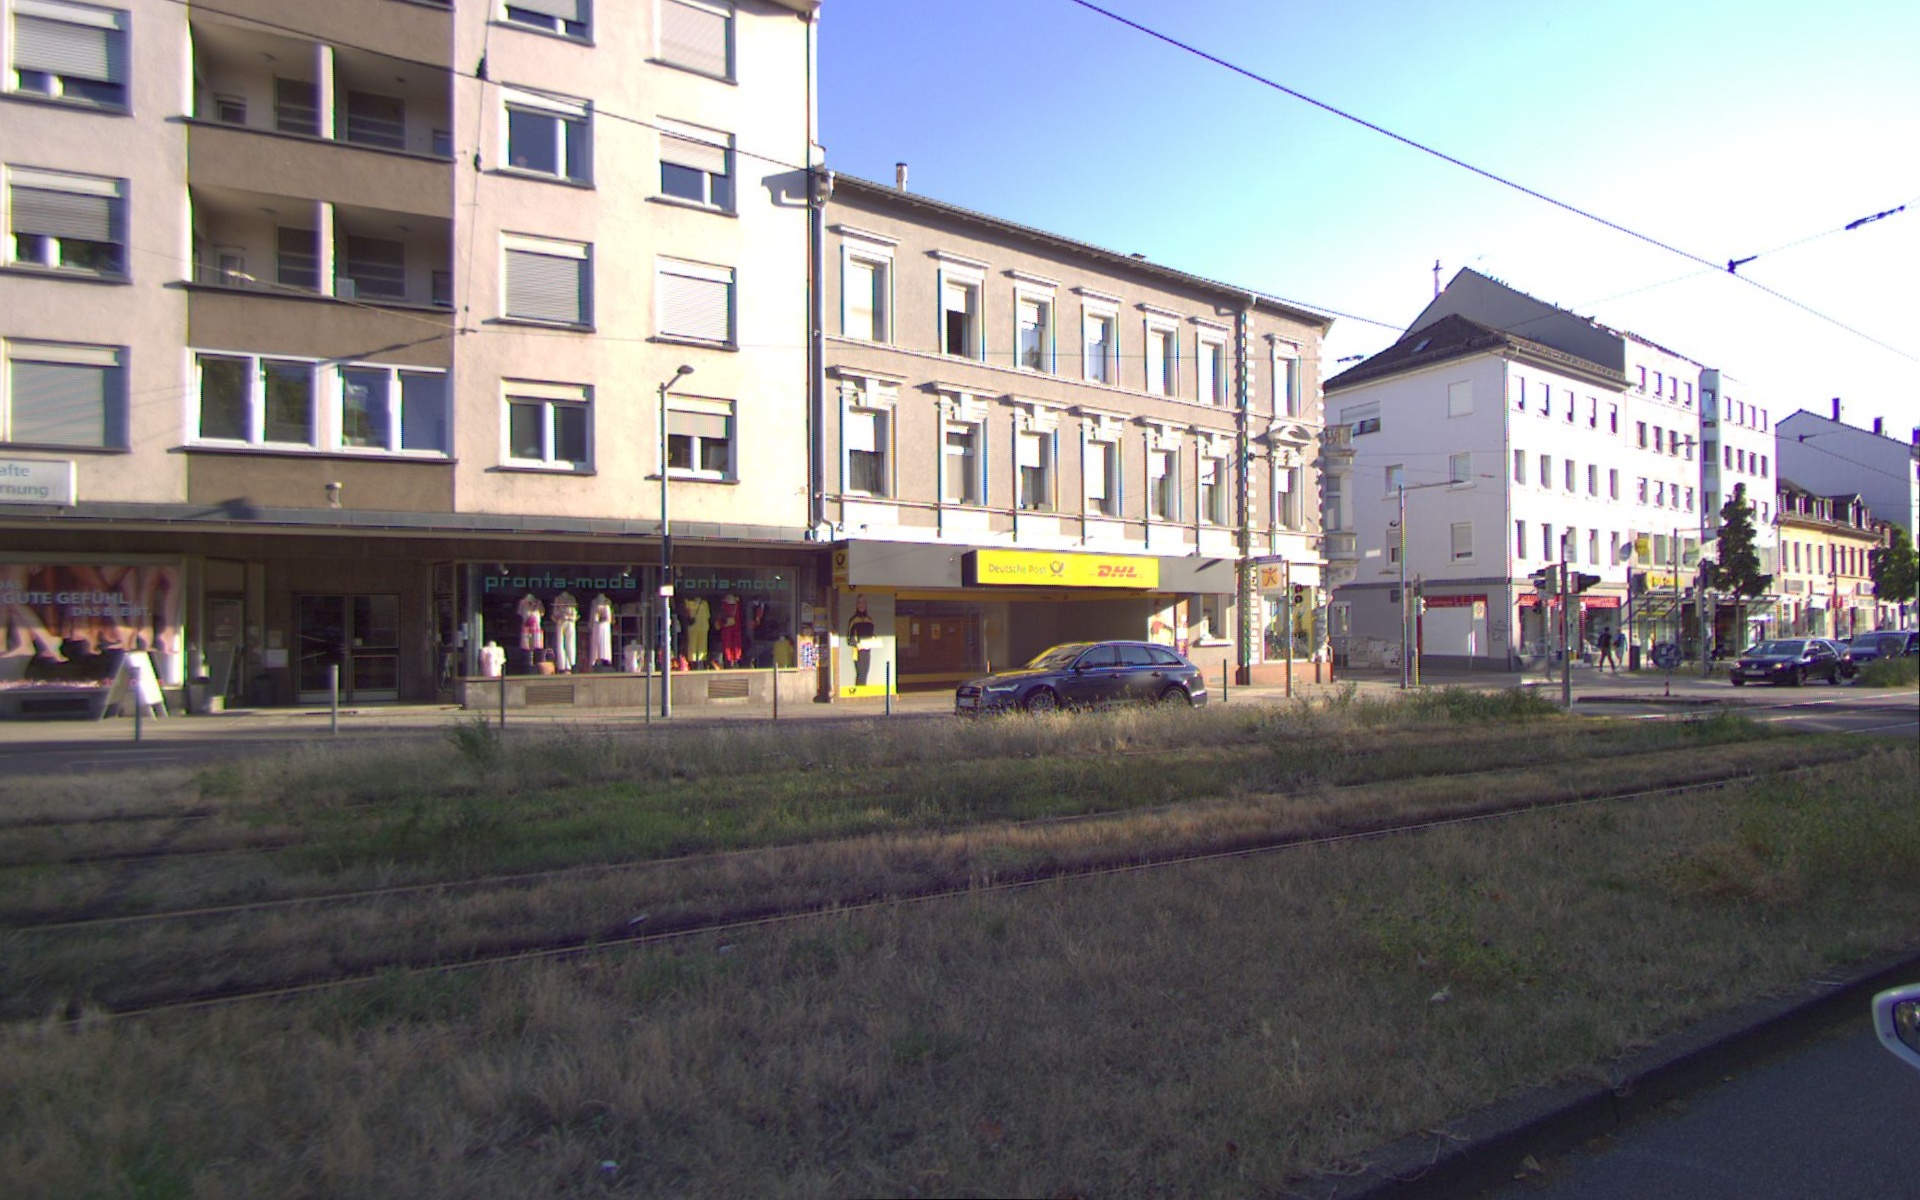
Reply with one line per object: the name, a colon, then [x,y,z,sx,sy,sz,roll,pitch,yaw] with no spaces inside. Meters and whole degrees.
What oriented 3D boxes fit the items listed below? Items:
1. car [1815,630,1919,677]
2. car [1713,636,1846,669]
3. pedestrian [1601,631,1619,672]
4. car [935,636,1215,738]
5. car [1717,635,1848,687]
car: [33.448,1.917,36.768,4.452,1.636,1.773,1,-2,-29]
car: [38.689,2.455,47.570,4.465,1.431,1.999,0,-2,24]
pedestrian: [27.366,2.160,42.291,0.501,1.736,0.424,1,-2,-26]
car: [2.084,1.438,17.761,4.719,1.579,1.984,1,-2,-31]
car: [25.881,1.904,31.584,3.994,1.469,1.774,0,-3,-29]
